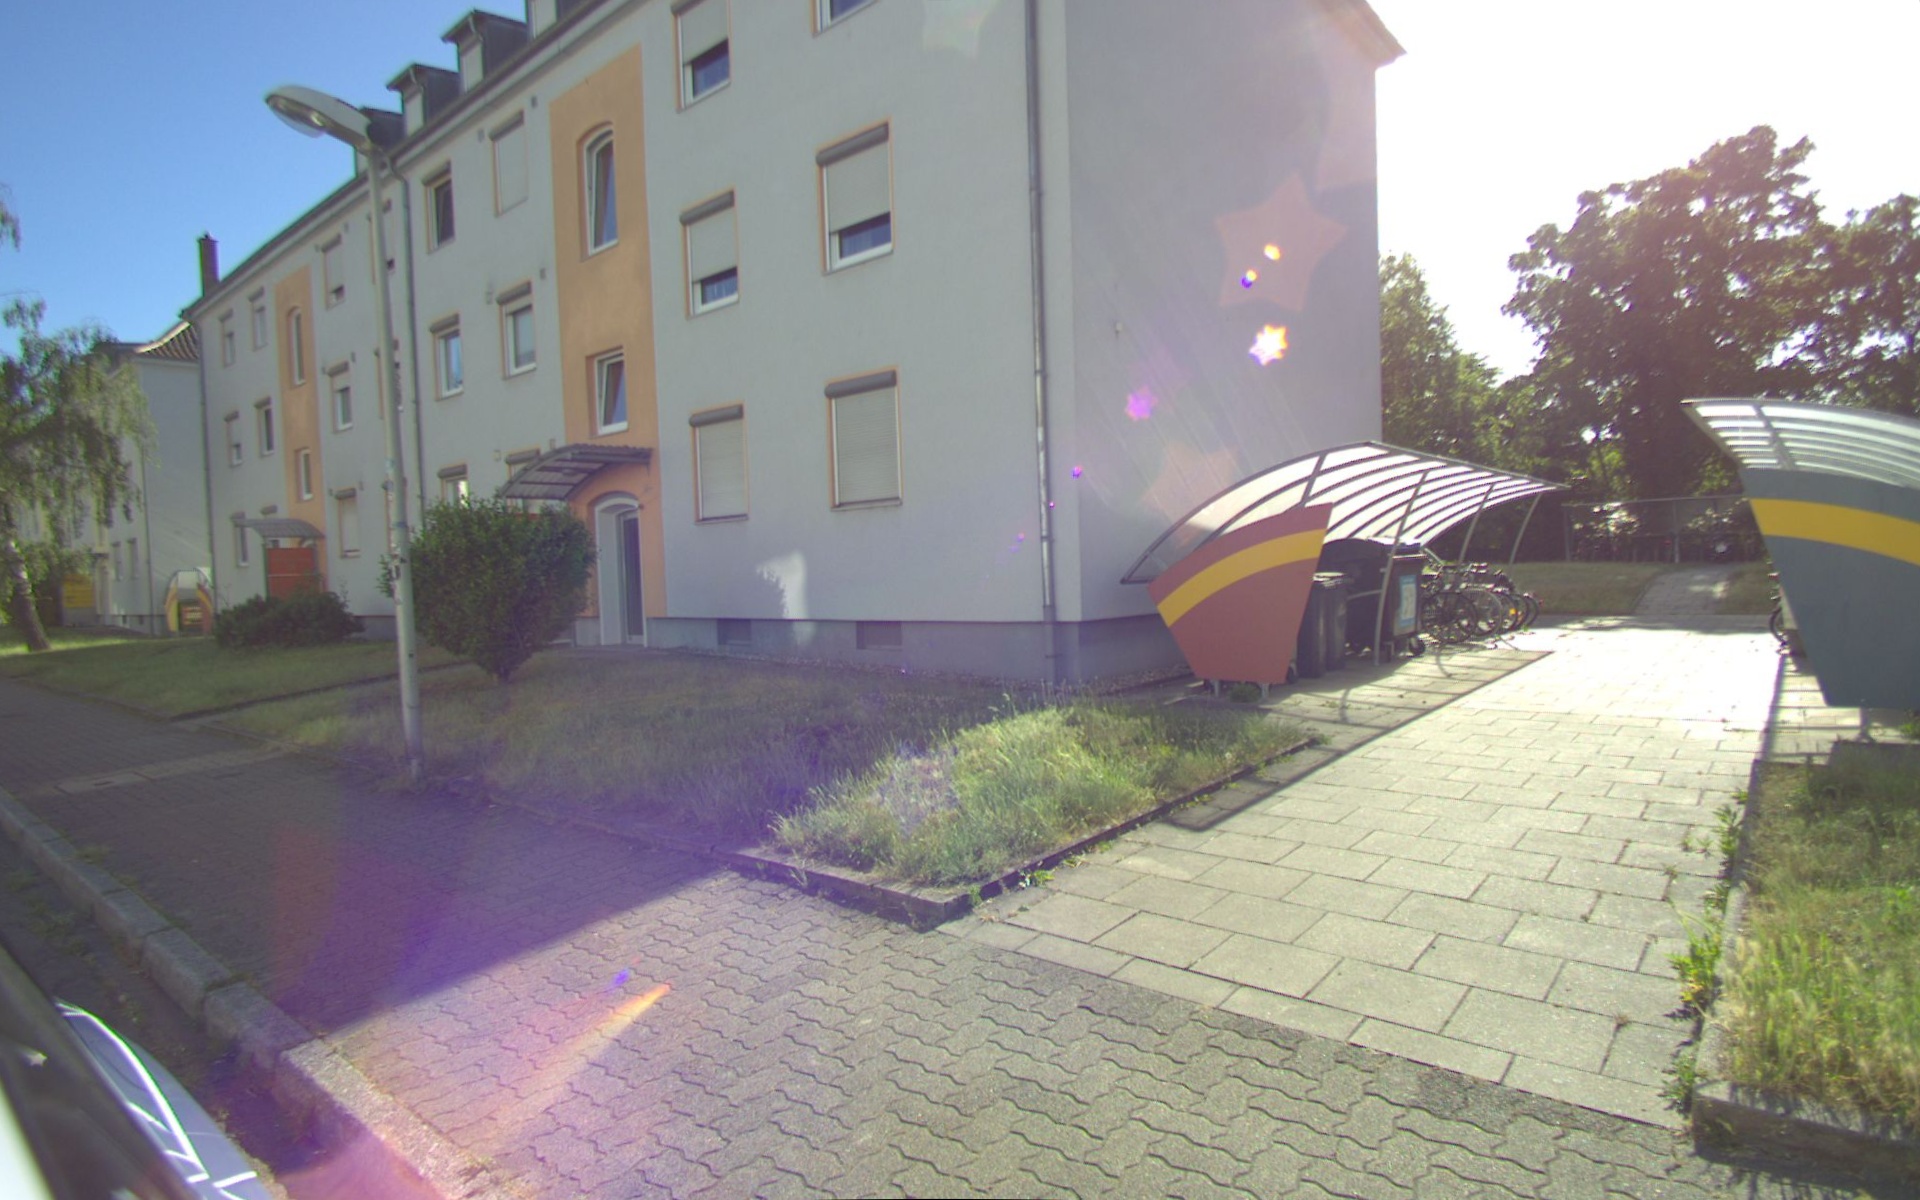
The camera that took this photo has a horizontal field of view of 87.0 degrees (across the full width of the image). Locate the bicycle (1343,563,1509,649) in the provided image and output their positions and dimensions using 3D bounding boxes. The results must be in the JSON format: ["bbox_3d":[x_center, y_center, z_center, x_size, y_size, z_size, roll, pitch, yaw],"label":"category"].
[{"bbox_3d":[6.246,0.088,13.636,1.940,1.075,0.503,-1,2,41],"label":"bicycle"}]

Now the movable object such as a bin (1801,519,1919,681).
[{"bbox_3d":[8.253,-0.025,9.122,0.800,1.358,1.246,-2,2,30],"label":"movable object such as a bin"}]

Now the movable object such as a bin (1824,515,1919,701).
[{"bbox_3d":[7.521,0.036,7.914,0.902,1.366,1.241,-2,1,29],"label":"movable object such as a bin"}]

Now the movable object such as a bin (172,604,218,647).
[{"bbox_3d":[-26.798,0.885,35.462,0.812,1.416,1.073,-2,2,41],"label":"movable object such as a bin"}]

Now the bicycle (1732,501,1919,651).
[{"bbox_3d":[9.625,-0.256,10.748,2.197,1.521,0.695,-2,2,41],"label":"bicycle"}]

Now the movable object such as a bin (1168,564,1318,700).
[{"bbox_3d":[2.747,0.279,9.767,0.909,1.177,1.300,-2,1,40],"label":"movable object such as a bin"}]

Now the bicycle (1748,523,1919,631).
[{"bbox_3d":[11.216,-0.281,12.575,2.197,1.282,0.695,-1,2,41],"label":"bicycle"}]

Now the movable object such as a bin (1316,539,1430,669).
[{"bbox_3d":[4.908,0.029,12.023,0.946,1.453,1.049,-2,1,40],"label":"movable object such as a bin"}]

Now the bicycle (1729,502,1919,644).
[{"bbox_3d":[10.189,-0.290,11.528,2.197,1.536,0.656,-2,1,41],"label":"bicycle"}]

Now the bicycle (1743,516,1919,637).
[{"bbox_3d":[10.729,-0.271,12.018,2.197,1.367,0.695,-1,2,41],"label":"bicycle"}]

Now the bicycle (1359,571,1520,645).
[{"bbox_3d":[6.667,0.118,14.133,1.928,0.955,0.544,-1,3,41],"label":"bicycle"}]

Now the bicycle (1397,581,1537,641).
[{"bbox_3d":[7.356,0.161,14.738,1.732,0.803,0.503,-1,2,41],"label":"bicycle"}]

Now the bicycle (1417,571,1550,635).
[{"bbox_3d":[8.014,0.056,15.545,1.732,0.916,0.503,-1,2,41],"label":"bicycle"}]

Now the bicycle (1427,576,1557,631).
[{"bbox_3d":[8.383,0.069,15.993,1.732,0.803,0.503,-1,2,41],"label":"bicycle"}]
